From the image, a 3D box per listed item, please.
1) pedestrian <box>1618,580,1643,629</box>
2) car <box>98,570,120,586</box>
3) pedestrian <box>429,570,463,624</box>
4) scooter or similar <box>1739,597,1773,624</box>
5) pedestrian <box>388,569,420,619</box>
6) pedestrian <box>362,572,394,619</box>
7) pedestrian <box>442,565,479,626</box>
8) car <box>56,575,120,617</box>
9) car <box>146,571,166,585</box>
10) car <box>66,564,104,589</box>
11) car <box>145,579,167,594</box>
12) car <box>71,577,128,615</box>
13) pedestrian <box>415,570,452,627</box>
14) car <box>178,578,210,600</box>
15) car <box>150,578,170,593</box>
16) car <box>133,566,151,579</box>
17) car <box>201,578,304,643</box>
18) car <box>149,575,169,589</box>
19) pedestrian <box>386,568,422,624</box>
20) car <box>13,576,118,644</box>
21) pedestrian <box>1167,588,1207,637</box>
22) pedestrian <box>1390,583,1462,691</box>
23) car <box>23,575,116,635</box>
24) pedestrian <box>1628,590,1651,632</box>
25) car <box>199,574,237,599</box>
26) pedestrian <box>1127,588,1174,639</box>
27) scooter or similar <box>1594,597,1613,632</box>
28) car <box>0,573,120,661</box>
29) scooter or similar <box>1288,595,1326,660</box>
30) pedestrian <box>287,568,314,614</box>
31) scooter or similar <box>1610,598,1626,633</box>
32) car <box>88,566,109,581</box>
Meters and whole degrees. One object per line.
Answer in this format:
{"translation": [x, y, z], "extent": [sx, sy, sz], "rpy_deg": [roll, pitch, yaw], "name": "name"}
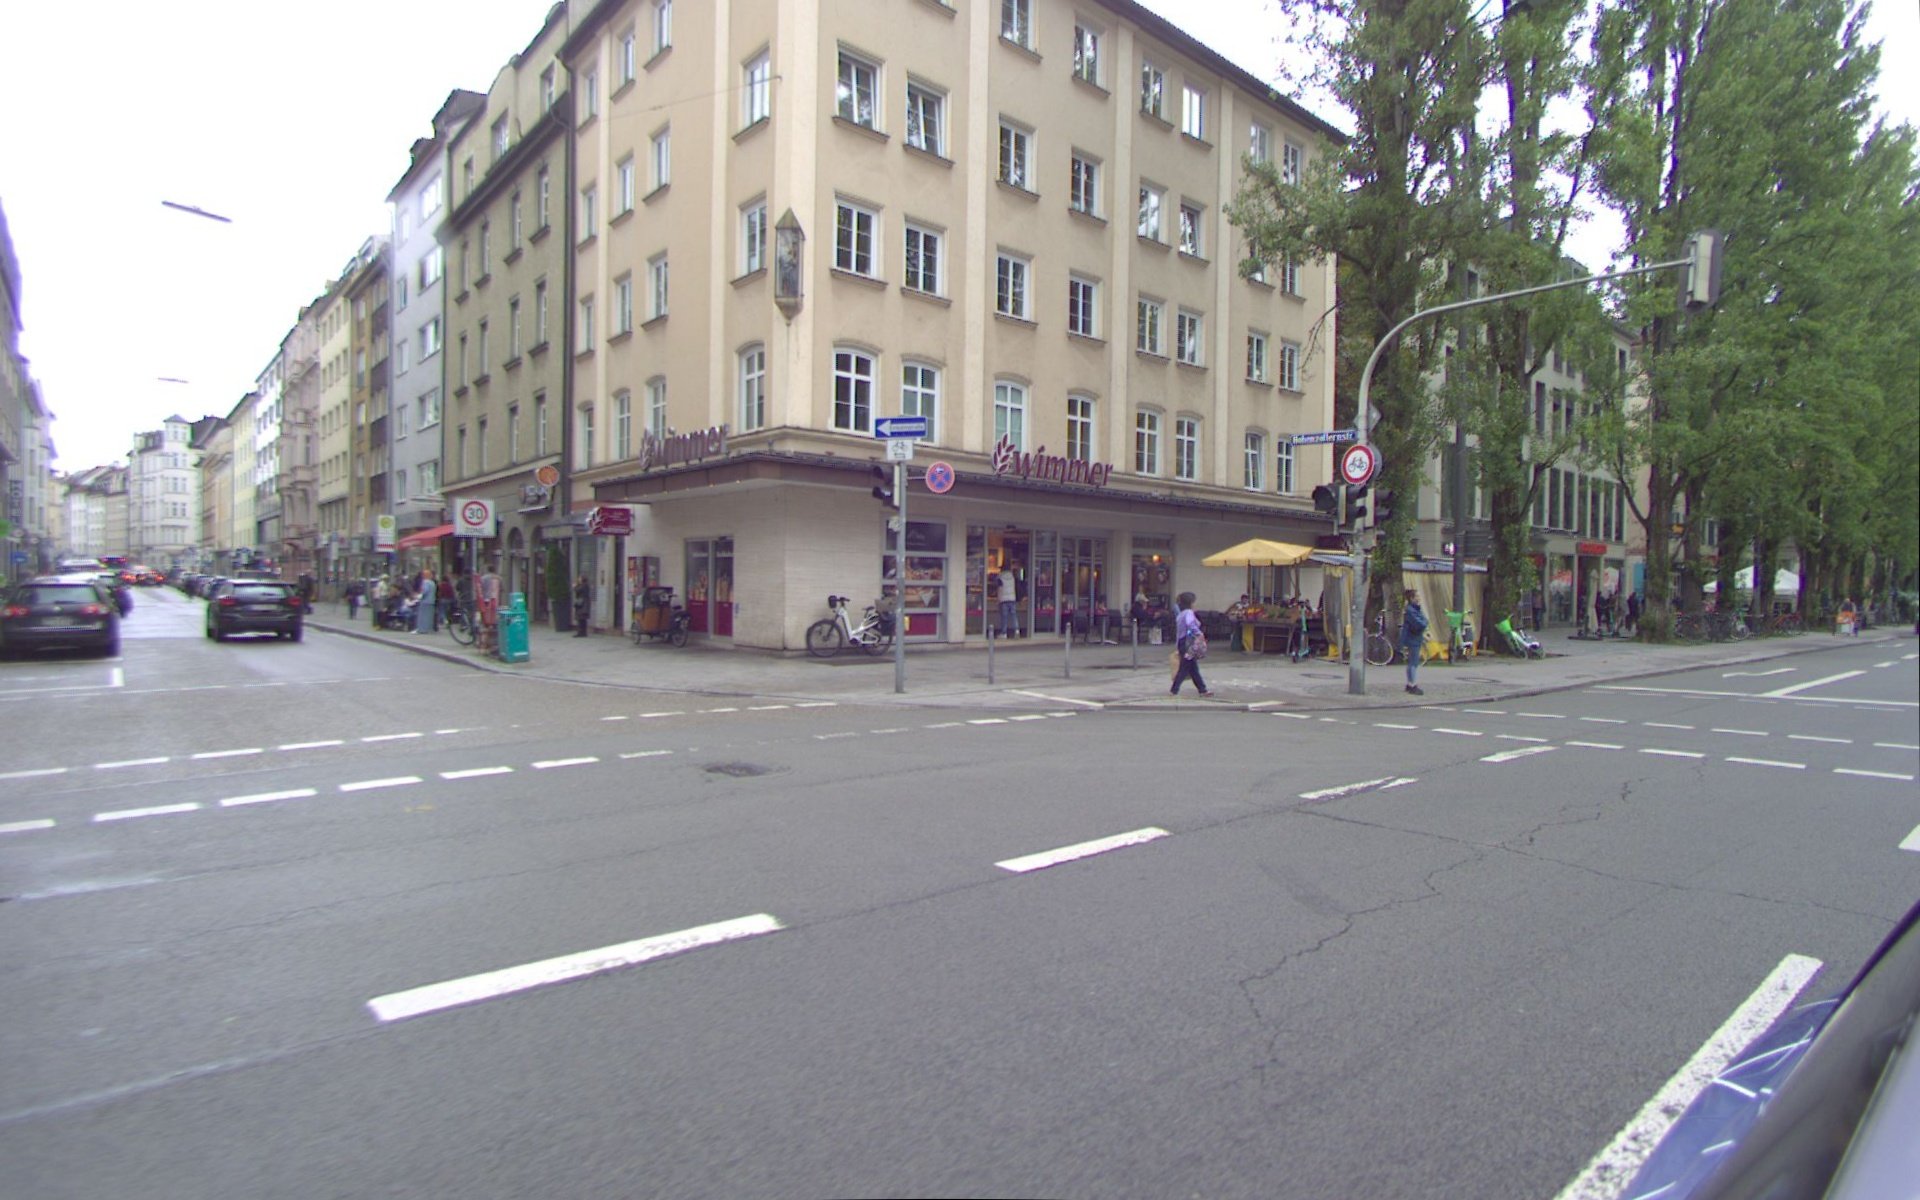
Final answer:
{"translation": [27.689, 0.187, 41.787], "extent": [0.709, 1.996, 0.658], "rpy_deg": [1, 0, -38], "name": "pedestrian"}
{"translation": [-82.074, -2.101, 97.598], "extent": [1.556, 1.530, 3.200], "rpy_deg": [0, 1, -42], "name": "car"}
{"translation": [-16.710, -0.094, 32.881], "extent": [0.804, 1.717, 0.867], "rpy_deg": [0, 0, -40], "name": "pedestrian"}
{"translation": [34.637, 0.447, 44.025], "extent": [1.221, 1.184, 0.286], "rpy_deg": [0, 0, 1], "name": "scooter or similar"}
{"translation": [-18.767, -0.200, 34.171], "extent": [0.804, 1.629, 0.867], "rpy_deg": [0, 0, -40], "name": "pedestrian"}
{"translation": [-20.212, -0.155, 35.144], "extent": [0.804, 1.629, 0.867], "rpy_deg": [0, 0, -40], "name": "pedestrian"}
{"translation": [-14.798, -0.133, 29.993], "extent": [0.804, 1.790, 0.867], "rpy_deg": [0, 0, -40], "name": "pedestrian"}
{"translation": [-32.522, -0.181, 37.778], "extent": [1.728, 1.479, 3.994], "rpy_deg": [0, 1, -41], "name": "car"}
{"translation": [-92.770, -2.566, 116.748], "extent": [1.556, 1.530, 3.200], "rpy_deg": [0, 1, -42], "name": "car"}
{"translation": [-55.509, -1.488, 64.230], "extent": [1.728, 1.479, 3.696], "rpy_deg": [0, 1, -39], "name": "car"}
{"translation": [-81.262, -1.386, 102.264], "extent": [1.556, 1.530, 3.200], "rpy_deg": [0, 1, -42], "name": "car"}
{"translation": [-35.598, -0.185, 41.874], "extent": [1.728, 1.479, 3.994], "rpy_deg": [0, 1, -41], "name": "car"}
{"translation": [-15.459, -0.047, 29.719], "extent": [0.804, 1.629, 0.867], "rpy_deg": [0, 0, -40], "name": "pedestrian"}
{"translation": [-55.750, -0.832, 73.650], "extent": [1.557, 1.530, 3.199], "rpy_deg": [0, 1, -43], "name": "car"}
{"translation": [-86.804, -1.572, 109.775], "extent": [1.556, 1.530, 3.200], "rpy_deg": [0, 1, -42], "name": "car"}
{"translation": [-97.802, -3.296, 120.945], "extent": [1.556, 1.530, 3.200], "rpy_deg": [0, 1, -42], "name": "car"}
{"translation": [-17.911, 0.207, 25.547], "extent": [1.729, 1.479, 3.994], "rpy_deg": [0, 1, -41], "name": "car"}
{"translation": [-89.300, -2.044, 112.801], "extent": [1.556, 1.530, 3.200], "rpy_deg": [0, 1, -42], "name": "car"}
{"translation": [-16.555, -0.108, 30.121], "extent": [0.804, 1.629, 0.867], "rpy_deg": [0, 0, -40], "name": "pedestrian"}
{"translation": [-21.560, 0.191, 24.505], "extent": [1.728, 1.479, 3.696], "rpy_deg": [0, 1, -39], "name": "car"}
{"translation": [6.016, 0.320, 26.873], "extent": [0.687, 1.280, 0.777], "rpy_deg": [0, 1, -40], "name": "pedestrian"}
{"translation": [7.282, 0.552, 15.818], "extent": [0.850, 1.630, 0.766], "rpy_deg": [1, 1, -45], "name": "pedestrian"}
{"translation": [-24.094, 0.095, 27.487], "extent": [1.728, 1.479, 3.696], "rpy_deg": [0, 1, -39], "name": "car"}
{"translation": [29.659, 0.477, 44.192], "extent": [0.662, 1.807, 0.658], "rpy_deg": [1, 1, -40], "name": "pedestrian"}
{"translation": [-46.508, -0.856, 63.392], "extent": [1.557, 1.530, 3.199], "rpy_deg": [0, 1, -43], "name": "car"}
{"translation": [4.843, 0.336, 25.740], "extent": [0.687, 1.213, 0.871], "rpy_deg": [0, 5, -40], "name": "pedestrian"}
{"translation": [24.269, 0.542, 38.156], "extent": [1.018, 1.289, 0.330], "rpy_deg": [0, 0, -41], "name": "scooter or similar"}
{"translation": [-17.944, 0.273, 20.220], "extent": [1.728, 1.568, 3.996], "rpy_deg": [0, 1, -39], "name": "car"}
{"translation": [6.999, 0.528, 20.411], "extent": [0.405, 1.259, 1.356], "rpy_deg": [1, 0, 32], "name": "scooter or similar"}
{"translation": [-26.820, -0.353, 41.150], "extent": [0.818, 1.826, 0.867], "rpy_deg": [0, 0, -40], "name": "pedestrian"}
{"translation": [24.584, 0.558, 37.804], "extent": [1.018, 1.289, 0.247], "rpy_deg": [0, 0, -41], "name": "scooter or similar"}
{"translation": [-86.674, -2.653, 101.793], "extent": [1.556, 1.530, 3.200], "rpy_deg": [0, 1, -42], "name": "car"}
